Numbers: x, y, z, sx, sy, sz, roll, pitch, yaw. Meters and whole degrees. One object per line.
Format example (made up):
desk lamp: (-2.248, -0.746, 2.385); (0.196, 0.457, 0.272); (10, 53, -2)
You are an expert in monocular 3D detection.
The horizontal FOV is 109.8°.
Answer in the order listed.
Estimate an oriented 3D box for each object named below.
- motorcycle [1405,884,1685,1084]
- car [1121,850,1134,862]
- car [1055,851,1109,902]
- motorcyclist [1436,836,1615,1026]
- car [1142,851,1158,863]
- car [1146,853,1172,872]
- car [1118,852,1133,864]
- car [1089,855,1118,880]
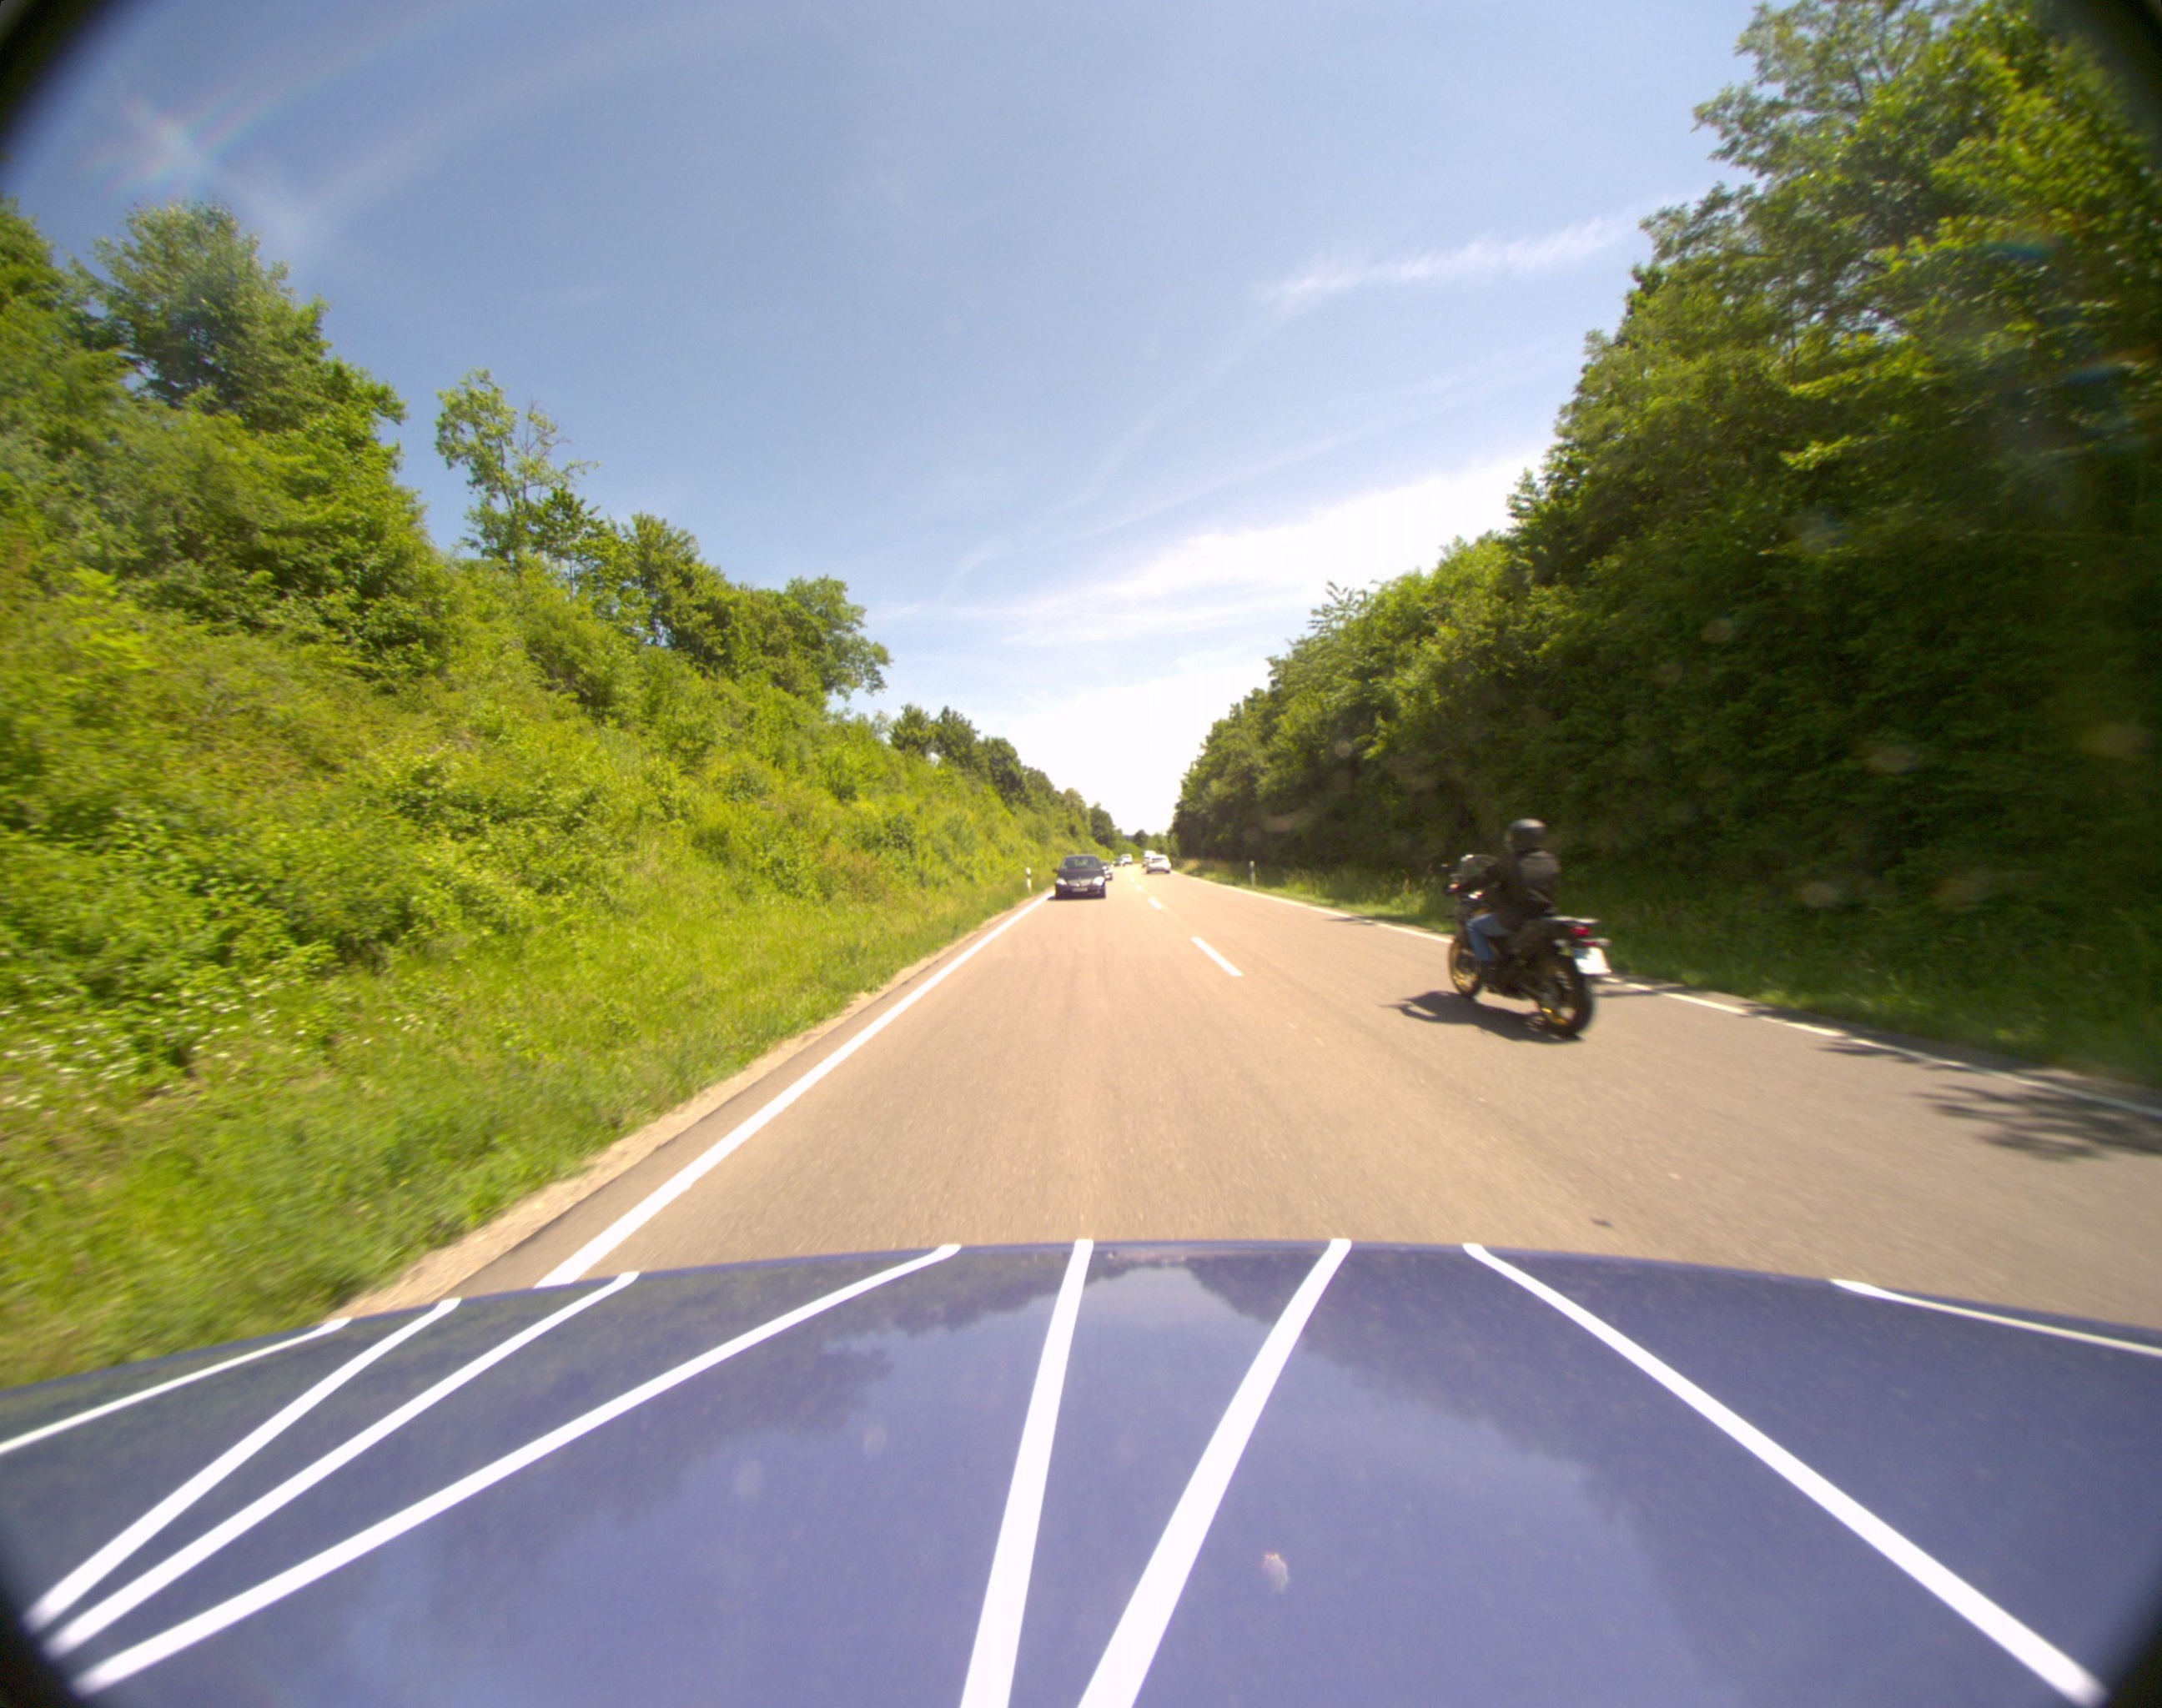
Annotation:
motorcycle: (3.632, 0.925, 6.316); (0.866, 1.214, 2.442); (-2, 0, 2)
car: (8.528, 0.341, 137.740); (1.997, 2.002, 4.002); (-2, 1, 8)
car: (0.114, 0.755, 28.337); (1.783, 1.676, 4.779); (-2, 0, 2)
motorcyclist: (3.632, 0.585, 6.317); (0.851, 1.429, 1.073); (-2, 1, 2)
car: (8.559, 0.365, 94.642); (1.749, 1.470, 4.167); (-2, 0, 3)
car: (6.318, 0.659, 61.782); (1.682, 1.452, 4.759); (-2, 0, 2)
car: (6.666, 0.547, 114.557); (2.045, 1.743, 4.167); (-2, 0, 2)
car: (1.446, 0.806, 48.528); (1.709, 1.444, 5.415); (-2, 0, 2)
